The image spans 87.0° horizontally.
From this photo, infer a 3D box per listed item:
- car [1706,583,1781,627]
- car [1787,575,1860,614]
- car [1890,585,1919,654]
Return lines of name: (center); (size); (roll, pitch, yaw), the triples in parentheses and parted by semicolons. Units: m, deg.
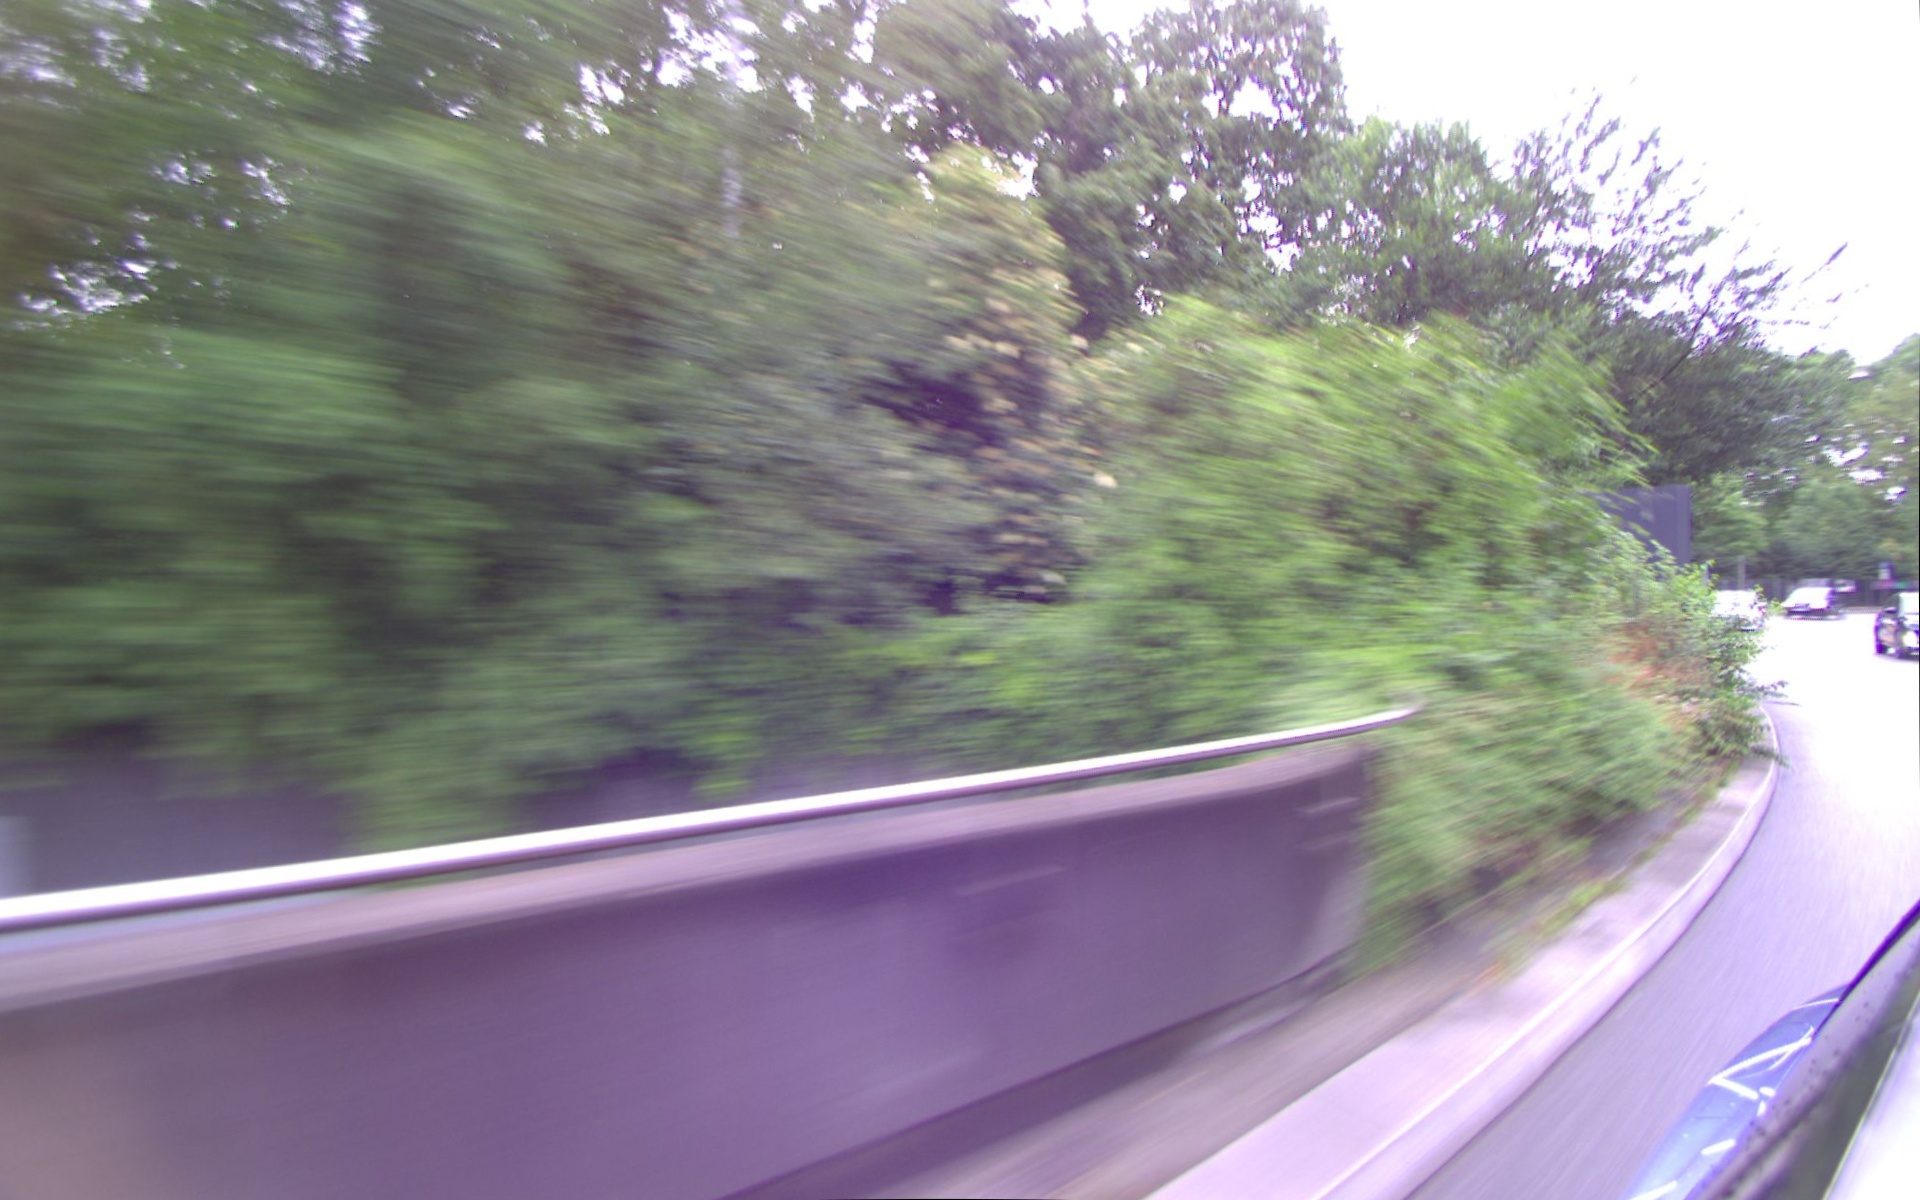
car: (29.010, 0.153, 37.425); (1.791, 1.471, 3.937); (1, 2, 44)
car: (41.887, -0.309, 49.087); (3.928, 1.766, 1.998); (-2, 2, -39)
car: (23.976, 0.430, 24.457); (1.922, 1.560, 3.944); (0, 1, 39)
